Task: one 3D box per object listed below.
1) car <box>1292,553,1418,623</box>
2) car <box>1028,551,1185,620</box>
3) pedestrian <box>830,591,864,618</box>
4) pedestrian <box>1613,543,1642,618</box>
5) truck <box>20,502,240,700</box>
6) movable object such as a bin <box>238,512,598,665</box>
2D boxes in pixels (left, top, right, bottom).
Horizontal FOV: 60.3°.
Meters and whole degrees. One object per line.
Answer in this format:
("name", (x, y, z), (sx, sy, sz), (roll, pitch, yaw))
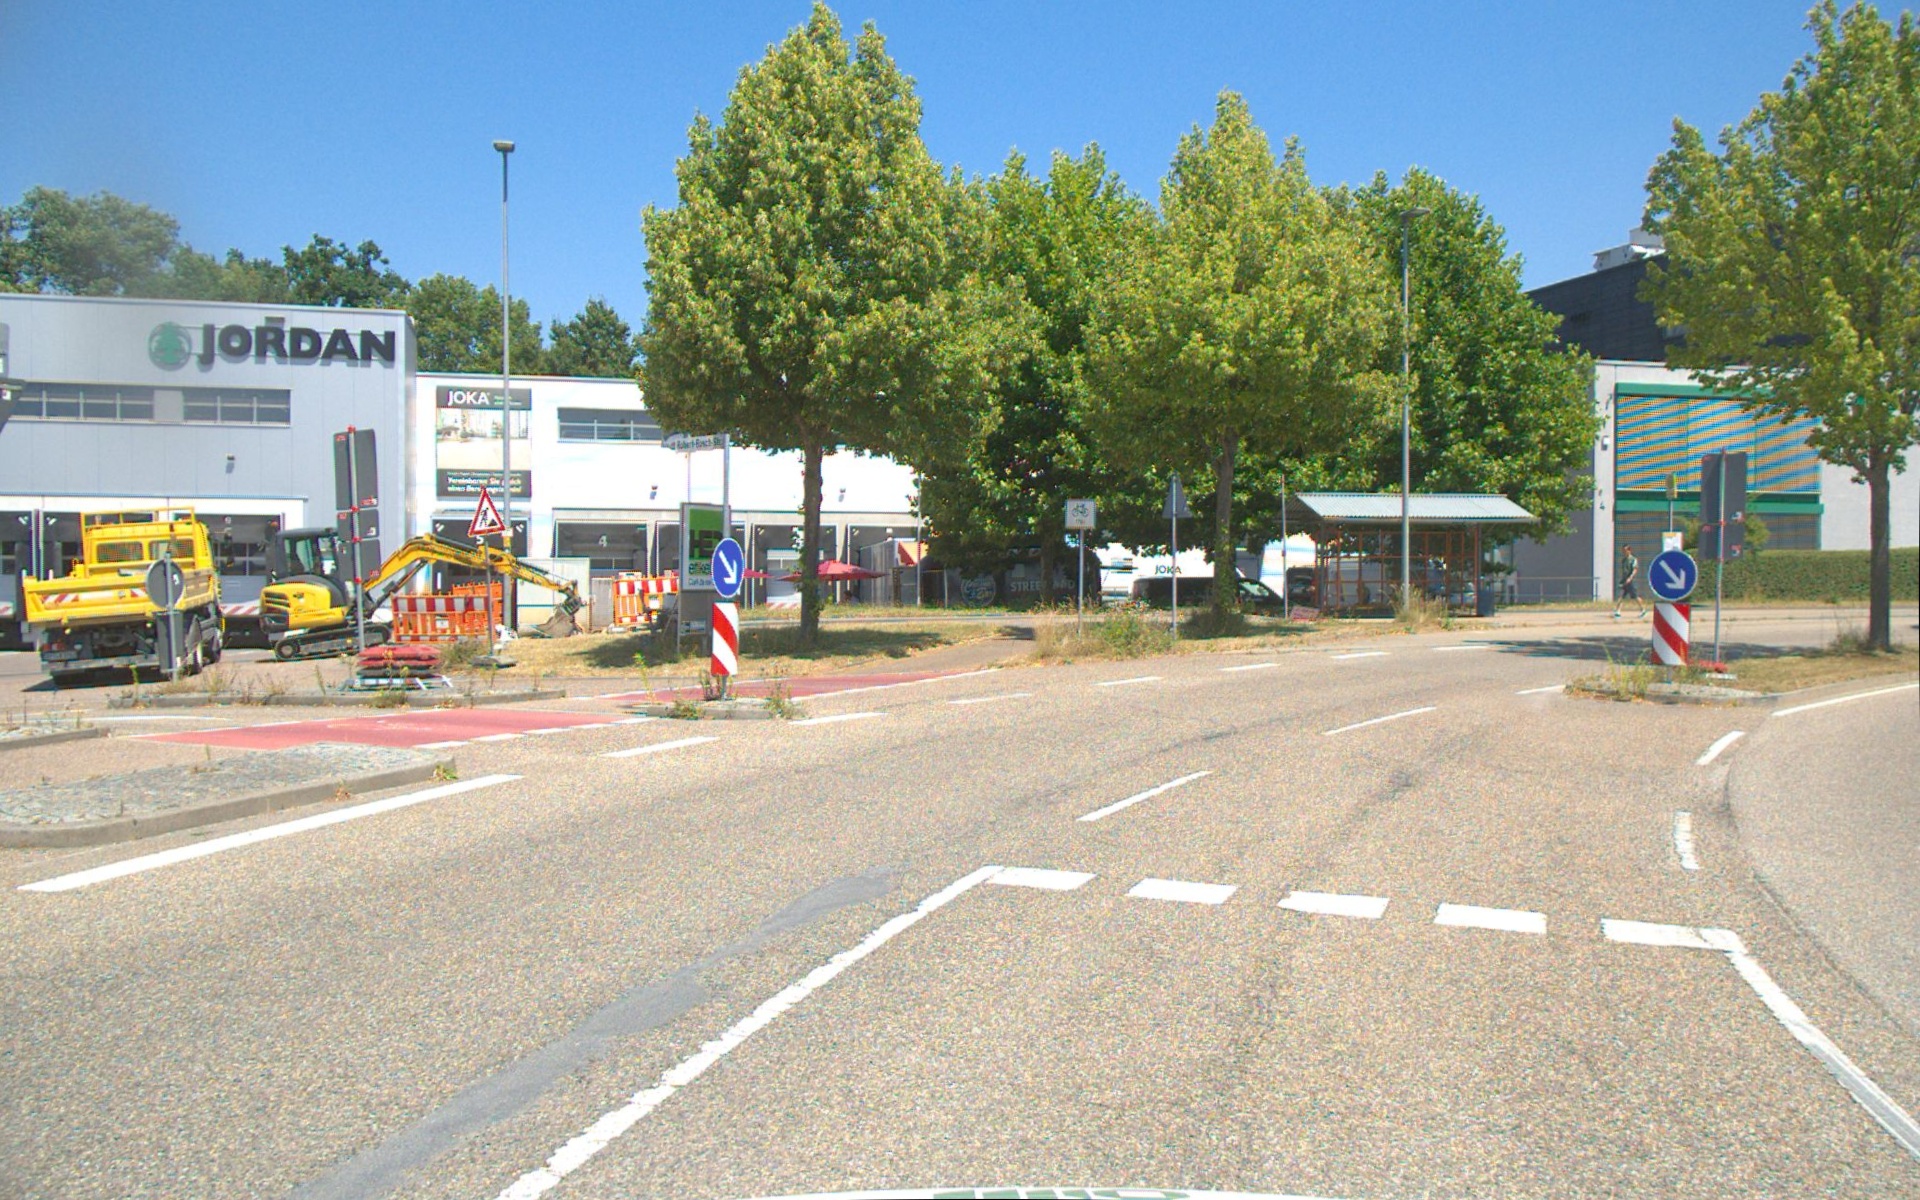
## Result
("car", (12.176, -0.337, 51.236), (1.524, 2.049, 4.231), (2, -1, -25))
("car", (4.031, -0.414, 45.683), (3.918, 1.758, 1.834), (-2, 0, -13))
("pedestrian", (-3.080, 0.115, 45.021), (0.845, 0.707, 0.408), (-1, 0, 9))
("pedestrian", (15.463, -0.451, 38.312), (0.518, 1.699, 0.580), (1, -1, 13))
("truck", (-15.321, -0.140, 30.995), (2.548, 3.190, 6.393), (-4, 3, -18))
("movable object such as a bin", (-10.607, -0.243, 32.883), (6.437, 2.626, 1.995), (-3, 0, -10))
